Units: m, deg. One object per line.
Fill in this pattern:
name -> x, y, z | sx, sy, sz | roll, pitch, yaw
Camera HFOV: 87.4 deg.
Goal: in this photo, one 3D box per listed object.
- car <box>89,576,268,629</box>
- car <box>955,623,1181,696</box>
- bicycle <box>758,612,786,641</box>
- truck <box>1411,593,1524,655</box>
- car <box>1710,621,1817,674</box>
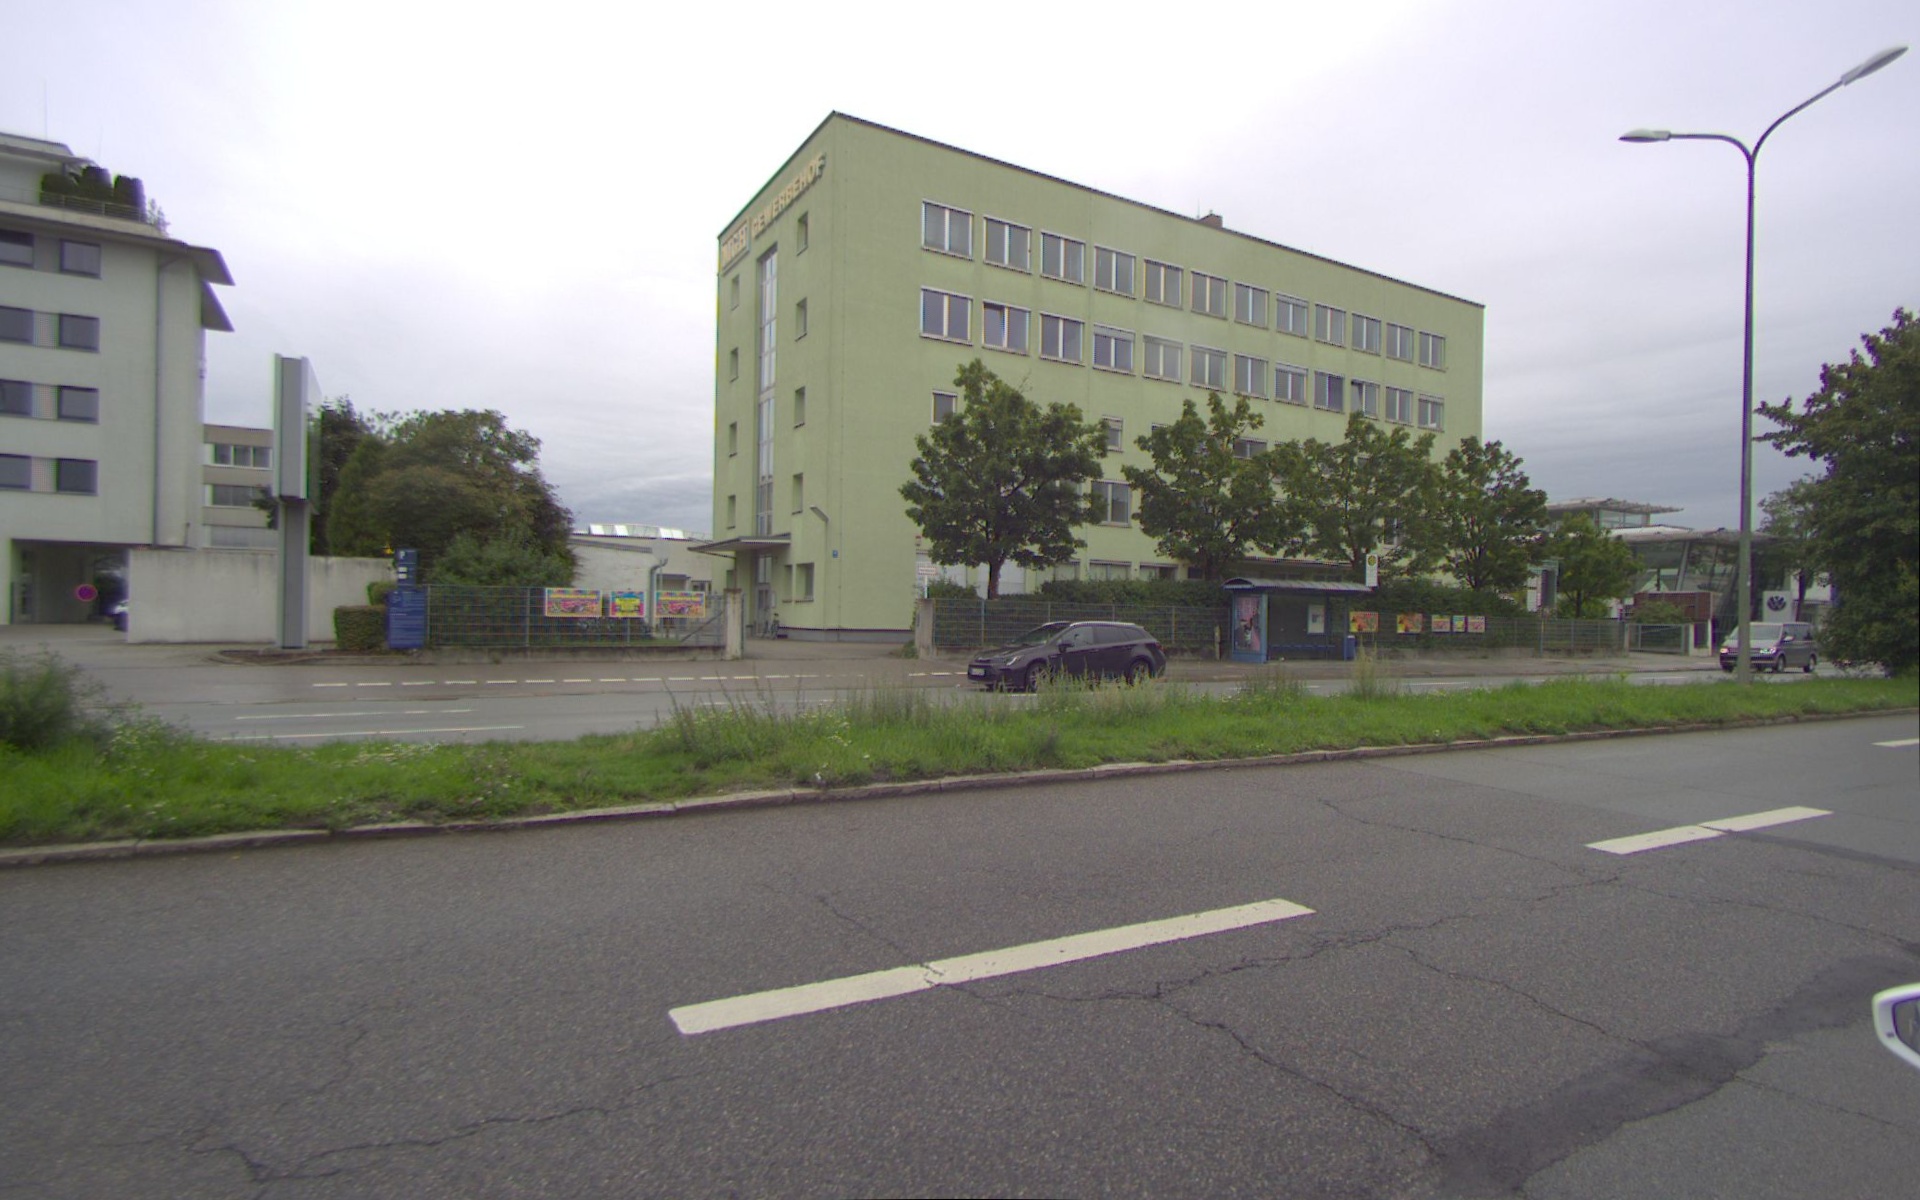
car -> -23.162, 0.131, 29.968 | 3.954, 1.457, 1.816 | 2, -2, -31
car -> 2.354, 1.228, 21.449 | 4.603, 1.420, 1.983 | 2, -2, -32
bicycle -> -7.506, 1.072, 40.004 | 0.444, 1.131, 2.103 | 1, -2, -29
truck -> 24.013, 1.169, 47.503 | 5.232, 2.784, 1.988 | 1, -2, -25
car -> 31.649, 1.841, 39.565 | 4.276, 1.986, 1.983 | 2, -2, -32
